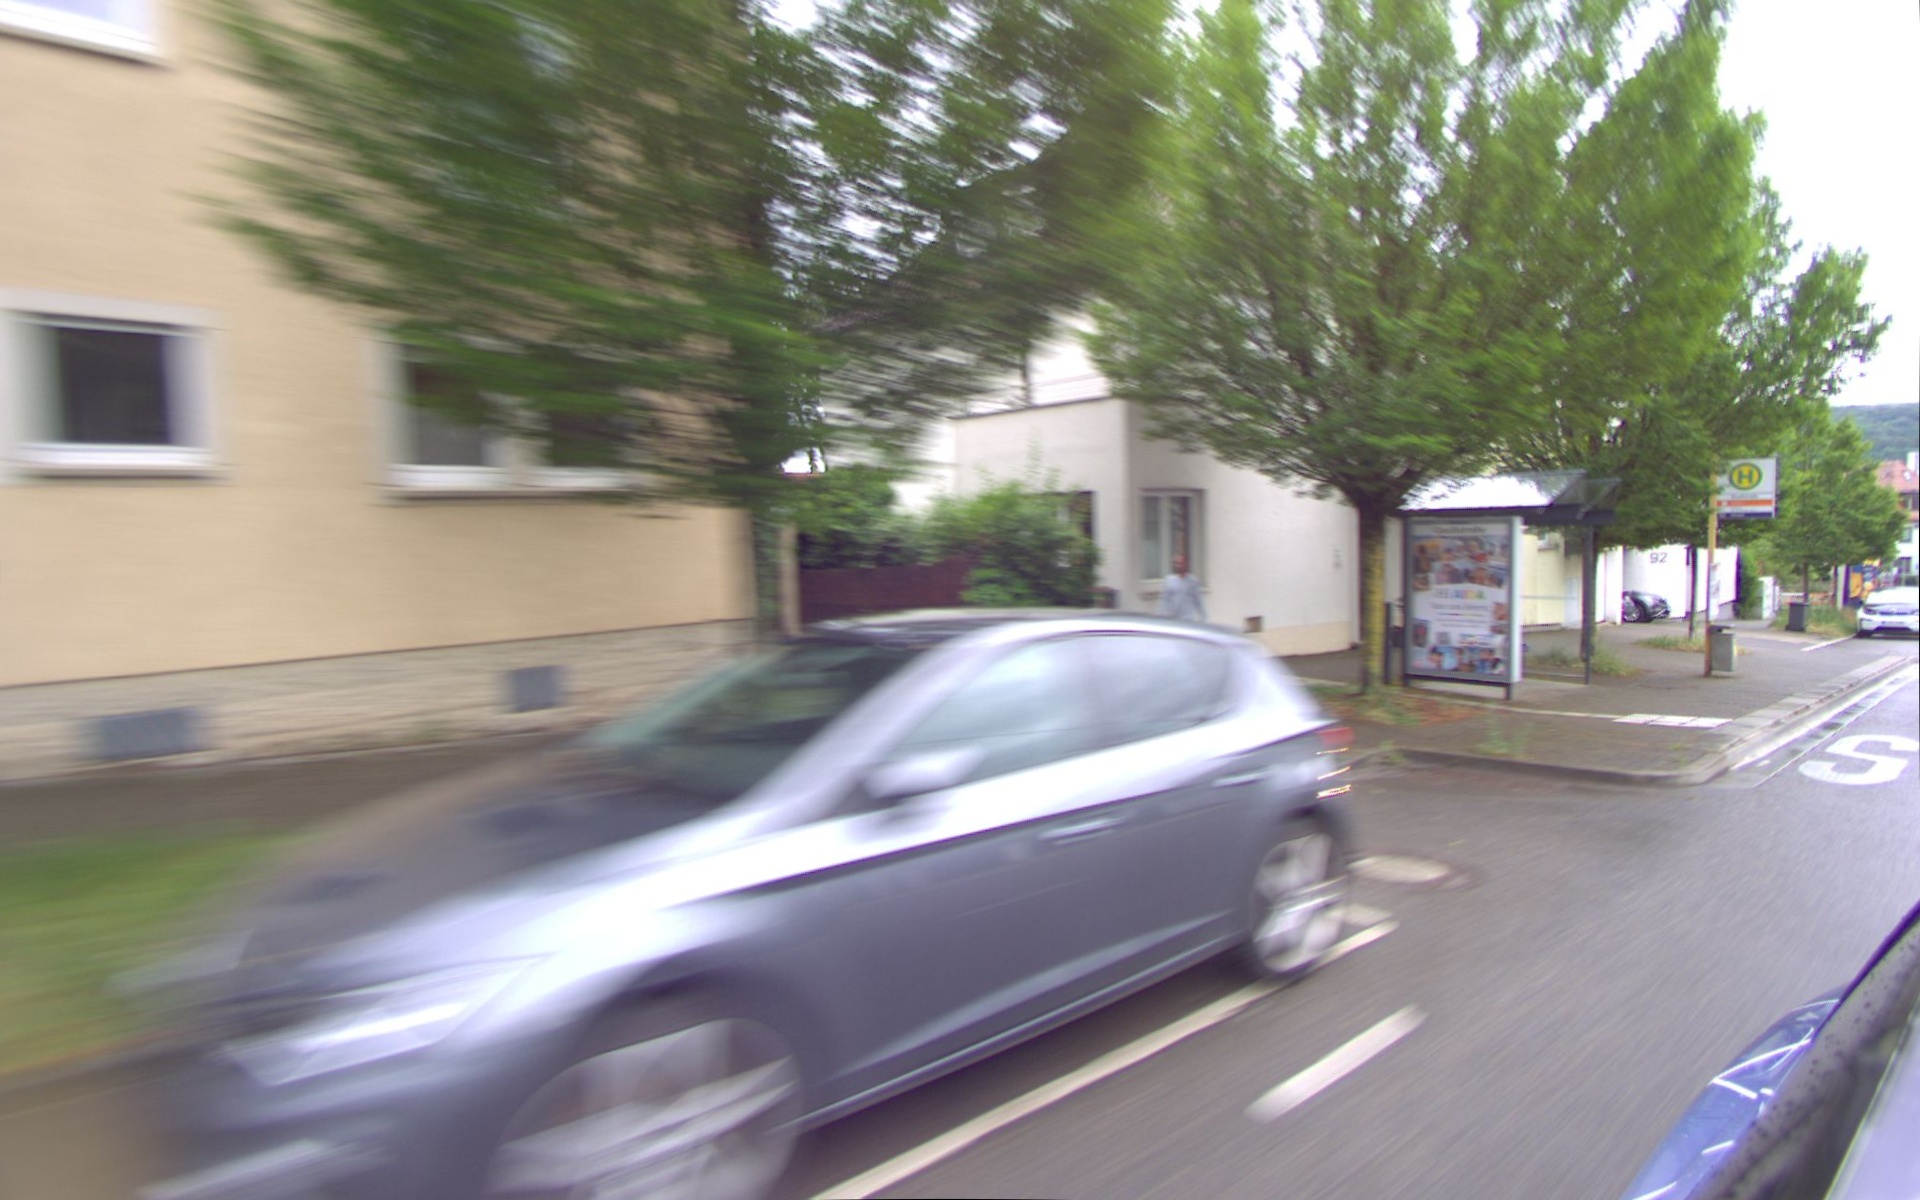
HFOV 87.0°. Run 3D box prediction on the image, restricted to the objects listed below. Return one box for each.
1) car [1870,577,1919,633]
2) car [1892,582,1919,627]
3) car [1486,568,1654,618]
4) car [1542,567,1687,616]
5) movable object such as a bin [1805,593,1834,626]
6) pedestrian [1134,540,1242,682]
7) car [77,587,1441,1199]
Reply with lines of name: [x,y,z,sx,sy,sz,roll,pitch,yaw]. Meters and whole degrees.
car: [29.397,0.117,31.175,4.051,1.628,1.730,-1,0,-44]
car: [33.270,0.125,34.695,1.779,1.457,4.802,0,1,45]
car: [19.451,-0.230,32.409,1.798,1.499,4.305,0,1,-41]
car: [21.708,-0.300,33.639,1.751,1.526,3.707,0,1,-41]
movable object such as a bin: [26.613,0.285,31.348,0.593,0.986,0.487,0,5,-36]
pedestrian: [2.919,0.118,12.958,1.026,1.706,0.834,0,4,-41]
car: [-0.225,0.680,3.654,4.388,1.434,1.882,-1,1,-40]
